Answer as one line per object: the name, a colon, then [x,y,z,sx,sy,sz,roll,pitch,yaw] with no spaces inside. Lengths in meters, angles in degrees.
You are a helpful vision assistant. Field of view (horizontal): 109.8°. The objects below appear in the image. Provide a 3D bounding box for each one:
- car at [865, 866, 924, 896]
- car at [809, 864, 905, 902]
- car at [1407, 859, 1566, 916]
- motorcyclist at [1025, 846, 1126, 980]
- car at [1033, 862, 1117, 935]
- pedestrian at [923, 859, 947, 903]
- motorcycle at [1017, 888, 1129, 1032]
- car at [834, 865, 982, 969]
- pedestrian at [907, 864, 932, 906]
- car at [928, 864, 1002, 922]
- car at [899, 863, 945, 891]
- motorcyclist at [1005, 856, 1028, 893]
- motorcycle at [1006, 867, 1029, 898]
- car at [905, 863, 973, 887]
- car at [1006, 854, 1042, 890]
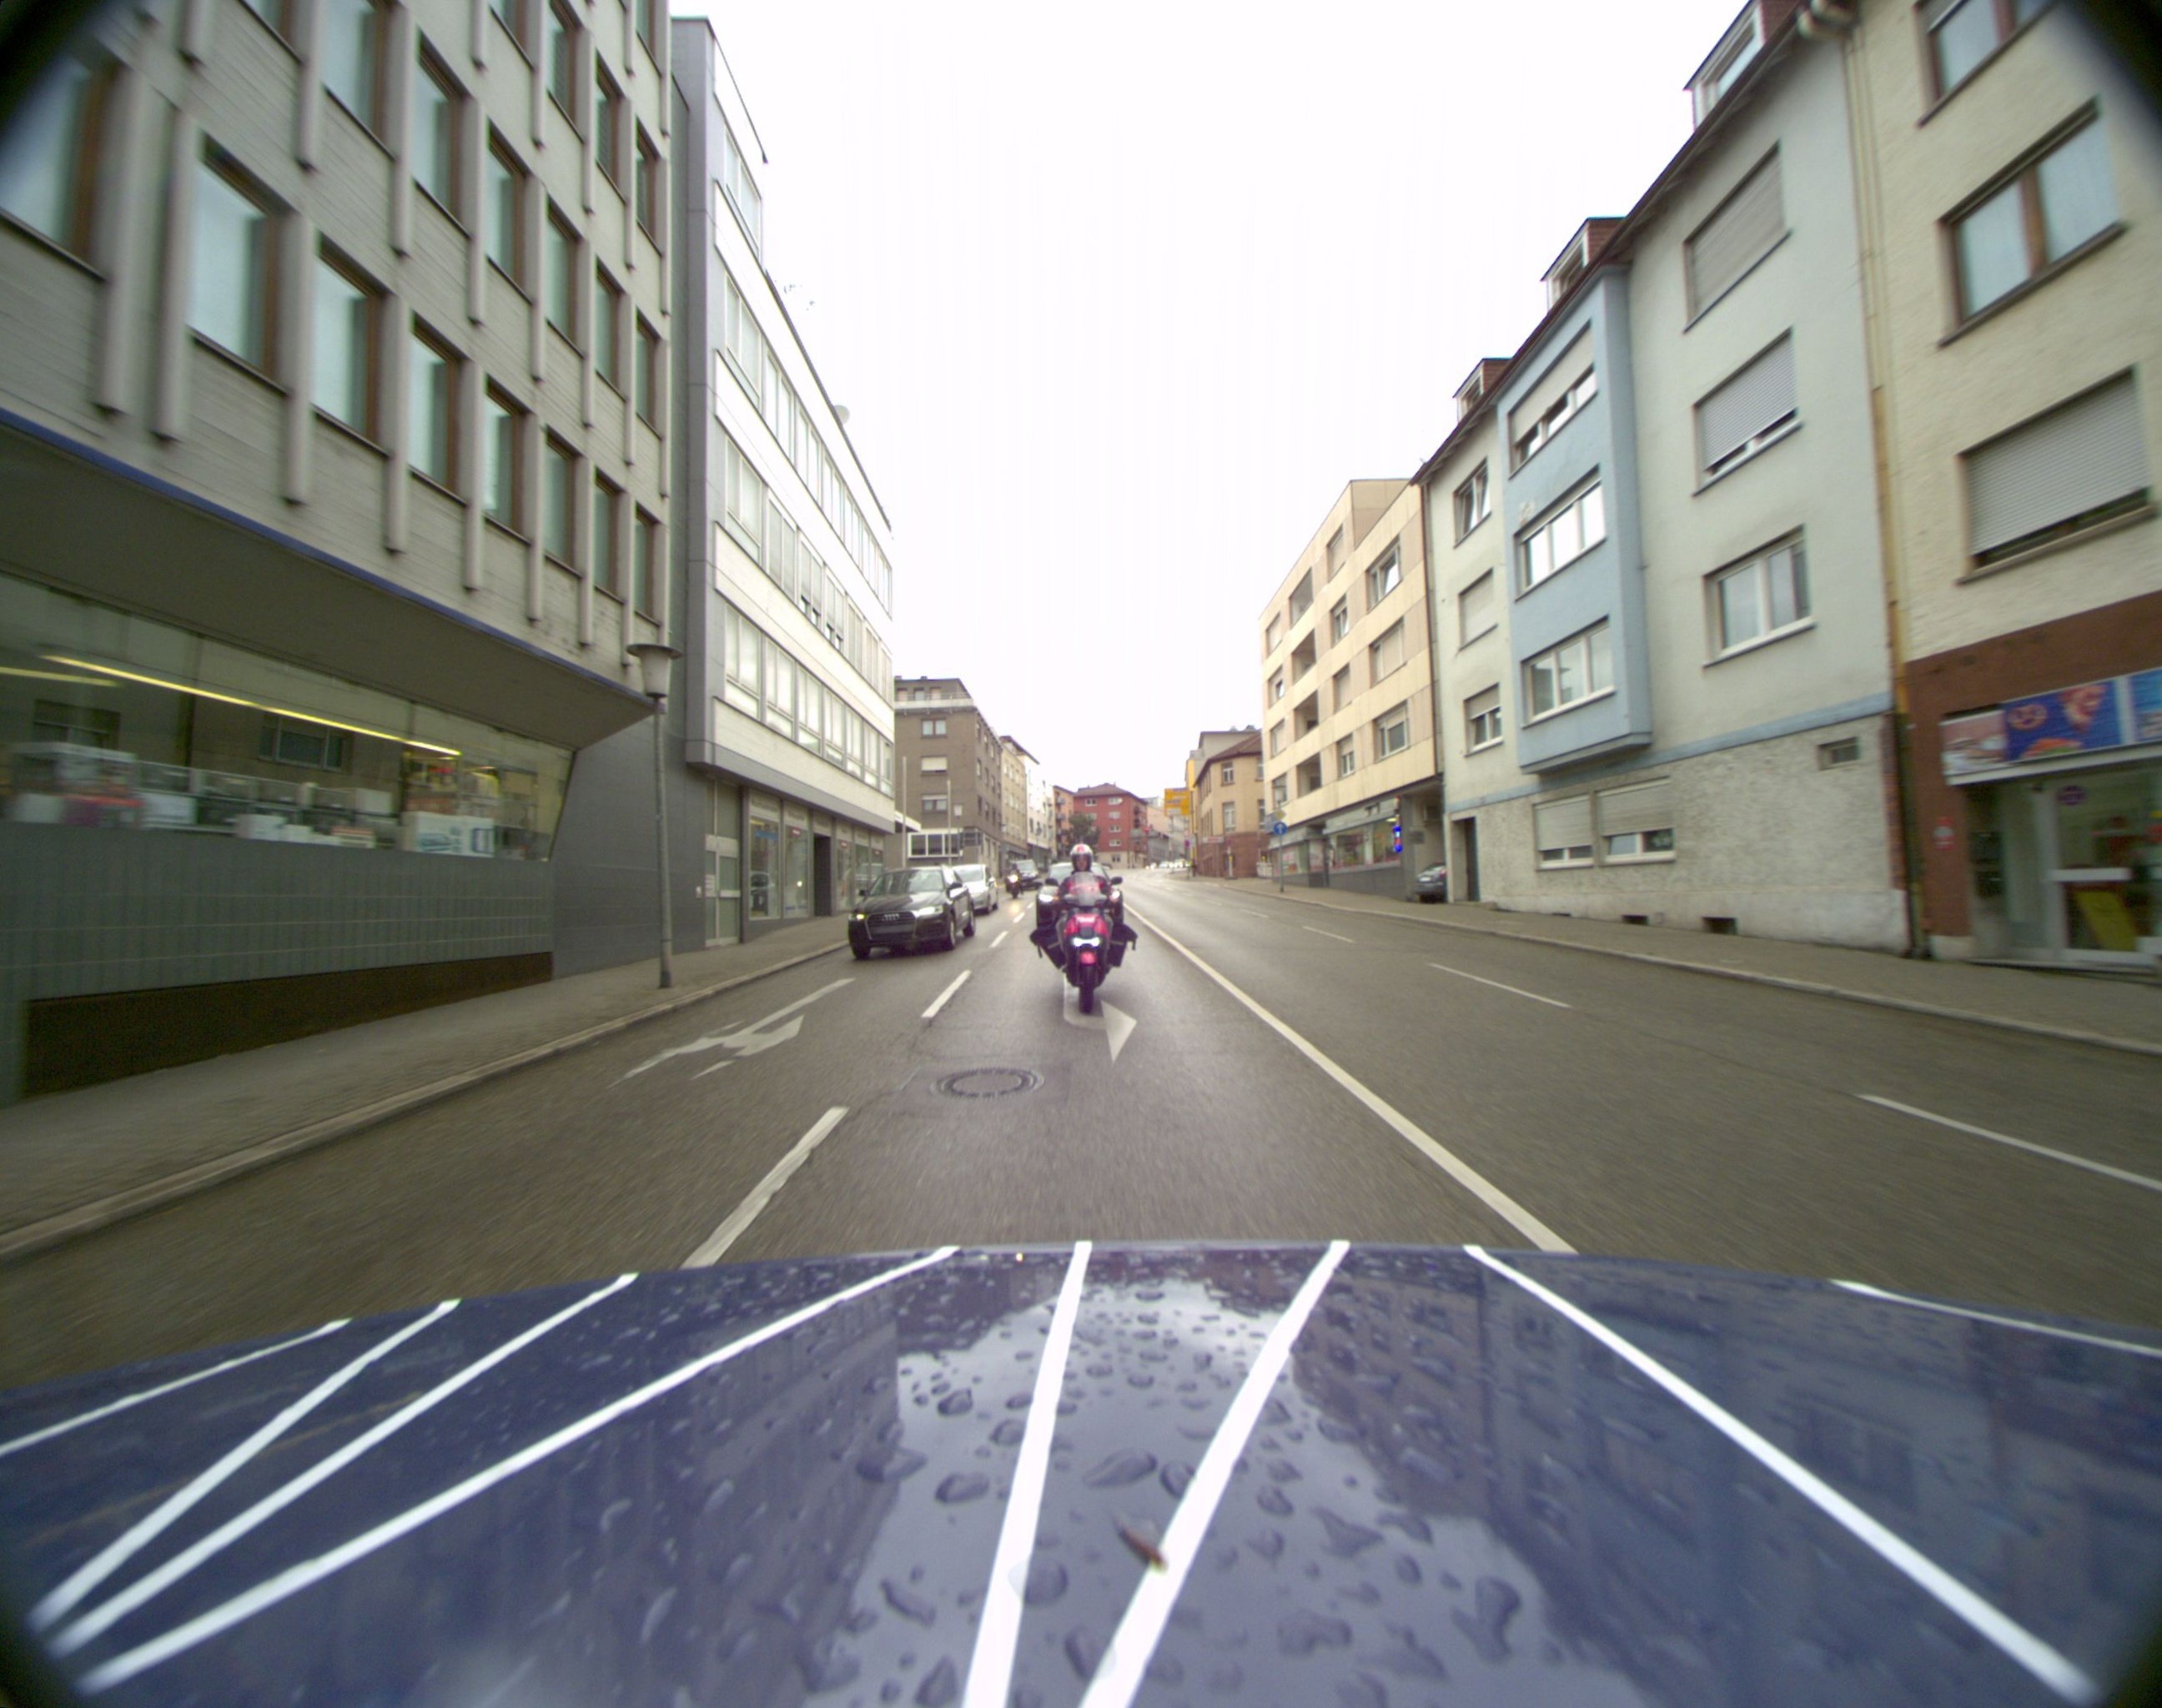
car: [-9.912,1.399,40.777,1.792,1.407,4.616,-1,0,3]
car: [-10.045,1.262,34.278,4.002,1.521,1.761,-2,0,-16]
car: [12.335,1.036,23.217,4.000,1.342,1.678,5,-3,-7]
motorcyclist: [-0.045,0.626,8.445,1.010,1.373,0.835,-3,0,2]
car: [-0.050,0.980,18.493,1.705,1.451,4.319,-4,0,2]
pedestrian: [-5.830,1.076,30.335,0.786,1.696,1.120,1,1,-3]
motorcycle: [-0.028,1.067,8.551,1.010,1.218,2.694,-3,0,2]
car: [-3.176,1.090,14.867,1.828,1.551,4.201,-4,0,0]
pedestrian: [-6.153,1.157,28.962,0.767,1.542,0.890,1,1,-3]
car: [-3.633,1.178,24.473,1.831,1.532,4.251,-5,0,-3]
car: [-9.685,1.375,46.560,1.793,1.503,4.437,-2,0,1]
motorcyclist: [-2.839,0.891,33.377,0.847,1.580,0.962,-4,1,-5]
motorcycle: [-2.801,1.229,33.434,0.847,1.218,2.372,-4,0,-5]
car: [-10.471,1.531,56.315,4.531,1.495,2.001,-4,0,4]
car: [-3.201,0.966,42.613,1.849,1.892,3.763,-2,0,-5]
